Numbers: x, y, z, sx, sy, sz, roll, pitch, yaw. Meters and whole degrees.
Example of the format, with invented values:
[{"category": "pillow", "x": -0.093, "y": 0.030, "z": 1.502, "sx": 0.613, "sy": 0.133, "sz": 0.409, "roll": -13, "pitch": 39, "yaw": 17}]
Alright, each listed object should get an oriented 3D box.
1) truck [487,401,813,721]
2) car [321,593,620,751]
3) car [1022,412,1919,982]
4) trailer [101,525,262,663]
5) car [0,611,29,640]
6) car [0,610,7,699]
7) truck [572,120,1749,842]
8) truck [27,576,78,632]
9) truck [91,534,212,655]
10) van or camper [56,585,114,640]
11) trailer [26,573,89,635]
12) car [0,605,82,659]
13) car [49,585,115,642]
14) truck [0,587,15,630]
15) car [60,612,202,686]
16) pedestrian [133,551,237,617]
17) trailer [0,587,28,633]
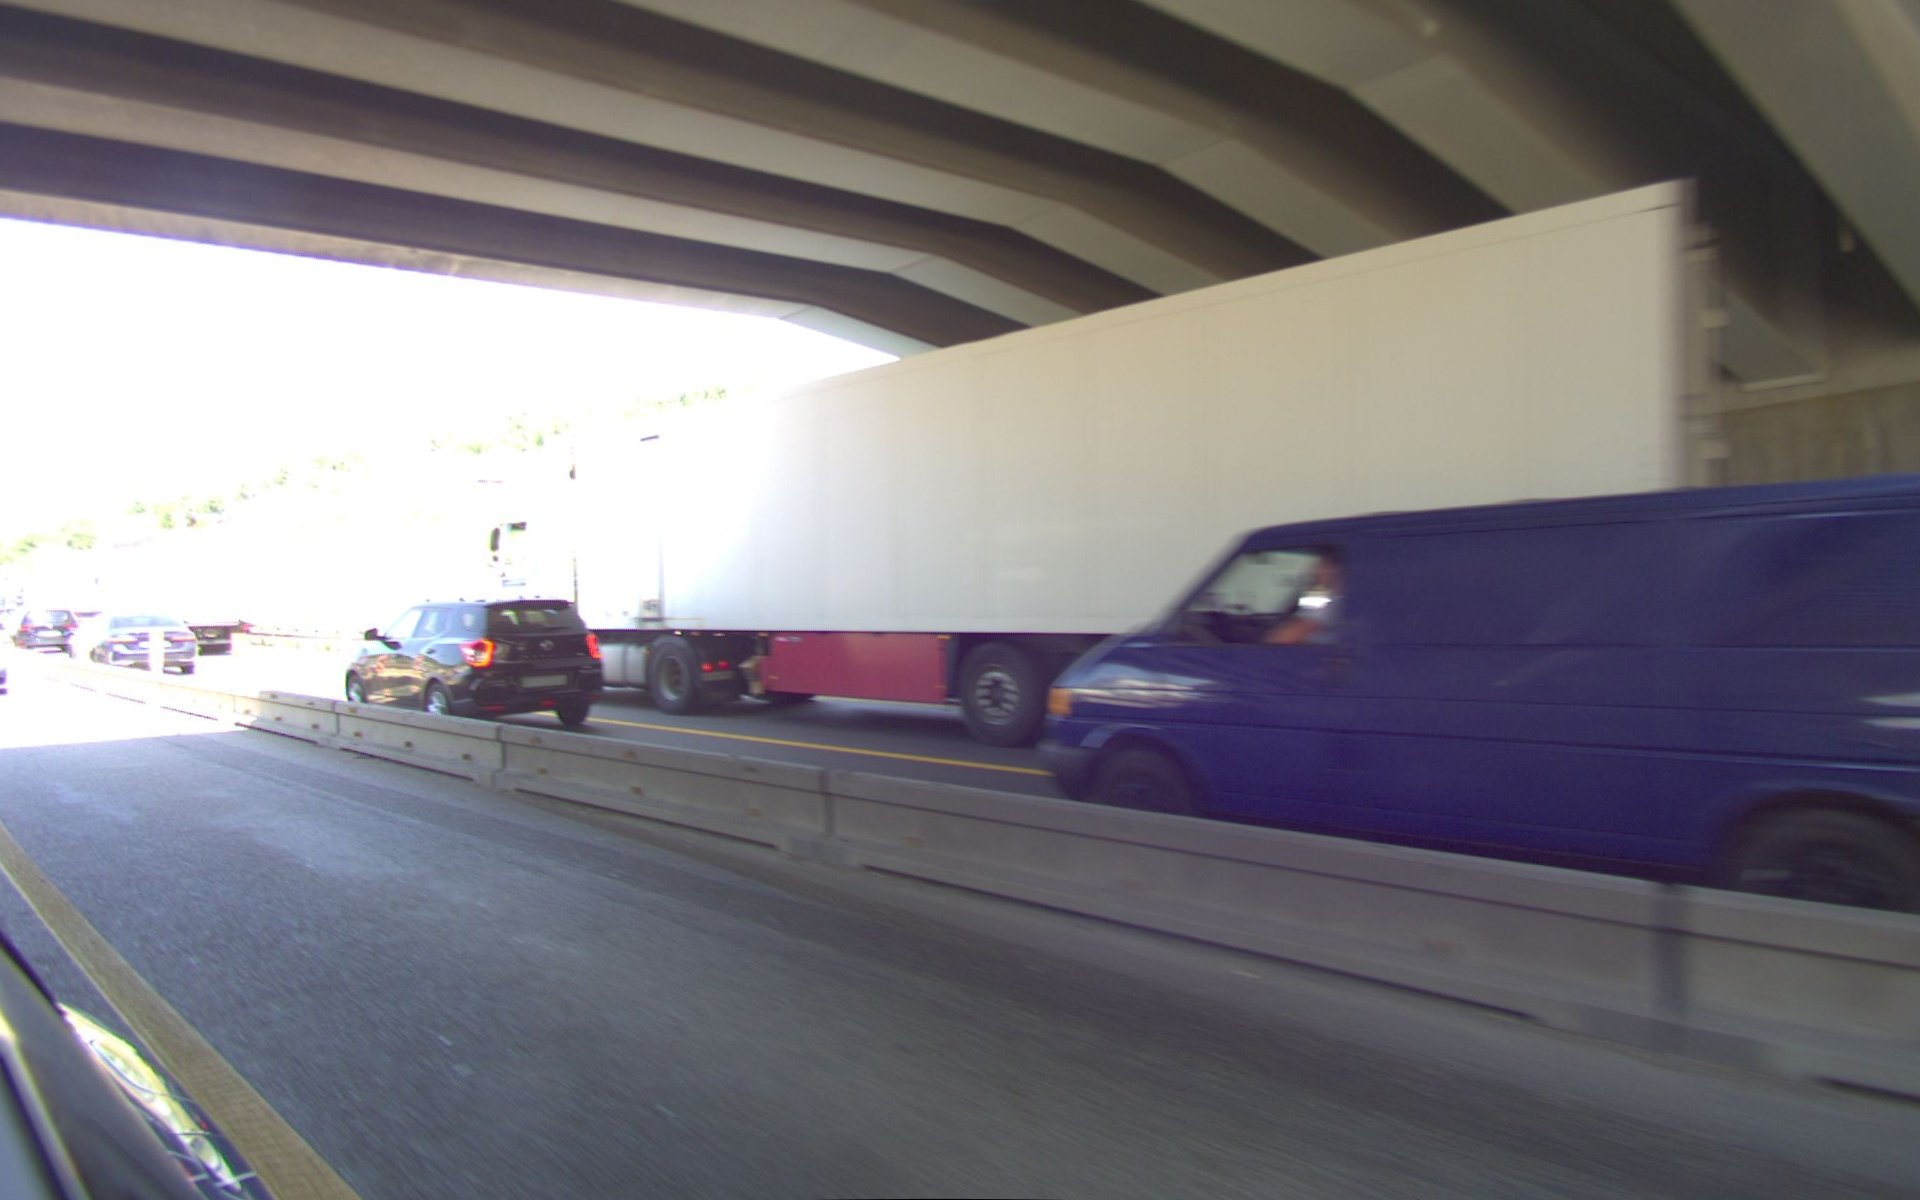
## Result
[{"category": "truck", "x": -5.024, "y": -0.529, "z": 16.024, "sx": 5.185, "sy": 4.202, "sz": 2.631, "roll": 0, "pitch": 1, "yaw": 42}, {"category": "car", "x": -6.318, "y": 0.813, "z": 12.810, "sx": 4.521, "sy": 1.622, "sz": 1.704, "roll": -2, "pitch": 0, "yaw": 41}, {"category": "car", "x": 2.845, "y": 0.346, "z": 4.973, "sx": 4.963, "sy": 1.947, "sz": 1.782, "roll": -1, "pitch": 0, "yaw": 39}, {"category": "trailer", "x": -26.776, "y": -0.196, "z": 34.644, "sx": 8.239, "sy": 4.205, "sz": 2.784, "roll": 0, "pitch": 1, "yaw": 41}, {"category": "car", "x": -53.016, "y": 1.422, "z": 56.027, "sx": 4.185, "sy": 1.529, "sz": 1.735, "roll": -2, "pitch": 0, "yaw": 42}, {"category": "car", "x": -19.527, "y": 1.006, "z": 19.188, "sx": 4.389, "sy": 1.609, "sz": 1.814, "roll": -1, "pitch": 0, "yaw": 43}, {"category": "truck", "x": 0.384, "y": -0.738, "z": 11.487, "sx": 13.479, "sy": 4.346, "sz": 2.741, "roll": 0, "pitch": 1, "yaw": 40}, {"category": "truck", "x": -64.939, "y": 0.260, "z": 72.376, "sx": 2.555, "sy": 3.857, "sz": 5.385, "roll": -1, "pitch": 1, "yaw": -44}, {"category": "truck", "x": -29.802, "y": -0.211, "z": 37.271, "sx": 4.071, "sy": 4.181, "sz": 2.769, "roll": 0, "pitch": 1, "yaw": 41}, {"category": "van or camper", "x": -46.428, "y": 0.653, "z": 53.643, "sx": 2.098, "sy": 2.725, "sz": 6.462, "roll": 0, "pitch": -1, "yaw": -43}, {"category": "trailer", "x": -60.610, "y": 0.206, "z": 67.854, "sx": 2.625, "sy": 3.844, "sz": 11.830, "roll": -1, "pitch": 1, "yaw": -44}, {"category": "car", "x": -32.971, "y": 1.093, "z": 36.113, "sx": 4.606, "sy": 1.769, "sz": 1.836, "roll": 0, "pitch": 0, "yaw": 41}, {"category": "car", "x": -46.539, "y": 0.658, "z": 53.590, "sx": 2.249, "sy": 2.842, "sz": 6.563, "roll": -1, "pitch": 1, "yaw": -44}, {"category": "truck", "x": -89.902, "y": 0.782, "z": 94.041, "sx": 4.587, "sy": 4.006, "sz": 2.555, "roll": 0, "pitch": 1, "yaw": 42}, {"category": "car", "x": -19.921, "y": 1.087, "z": 24.241, "sx": 4.771, "sy": 1.539, "sz": 1.836, "roll": 0, "pitch": 1, "yaw": 41}, {"category": "pedestrian", "x": -25.514, "y": -0.518, "z": 33.277, "sx": 3.999, "sy": 2.029, "sz": 1.973, "roll": 0, "pitch": 1, "yaw": 42}, {"category": "trailer", "x": -85.101, "y": 0.862, "z": 89.742, "sx": 11.272, "sy": 3.899, "sz": 2.572, "roll": 0, "pitch": 1, "yaw": 42}]
